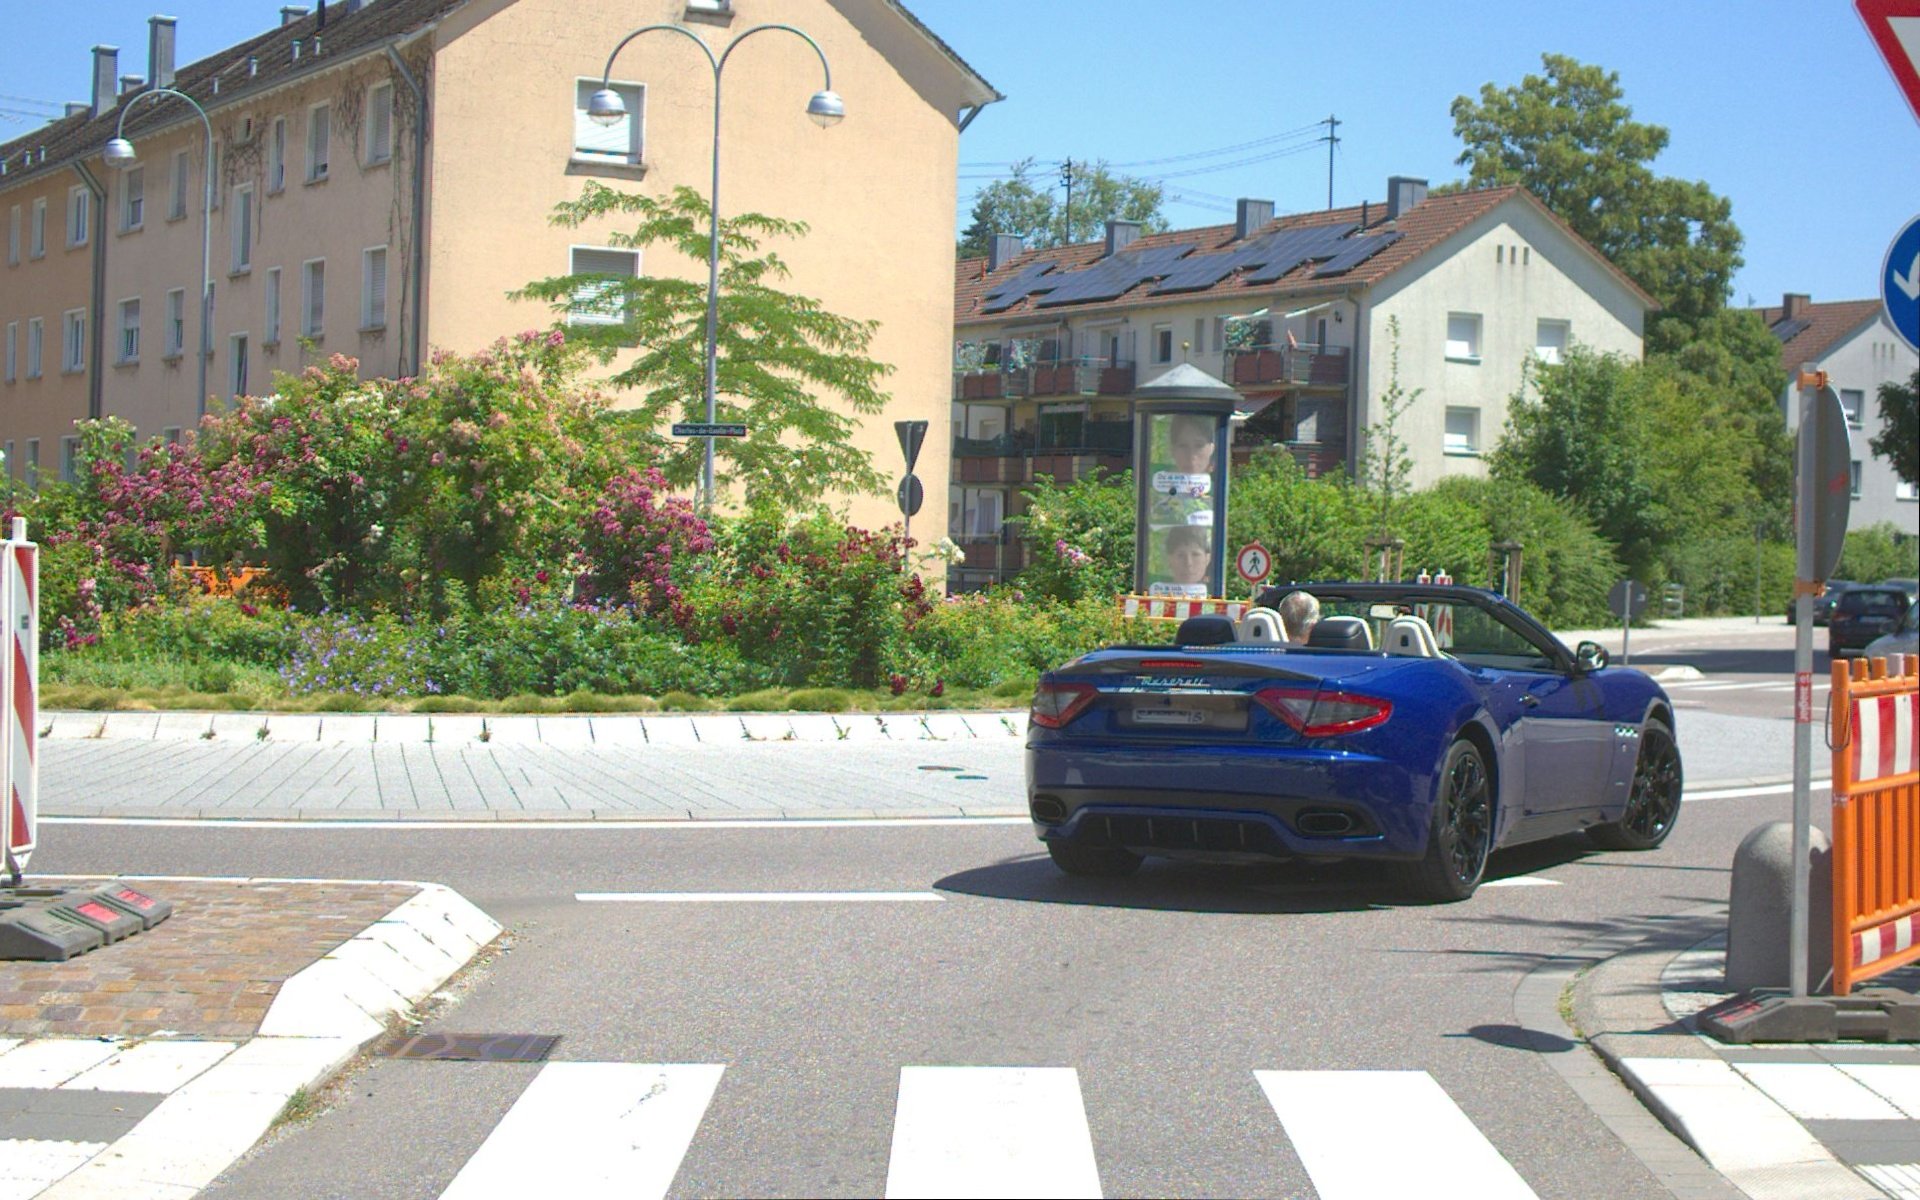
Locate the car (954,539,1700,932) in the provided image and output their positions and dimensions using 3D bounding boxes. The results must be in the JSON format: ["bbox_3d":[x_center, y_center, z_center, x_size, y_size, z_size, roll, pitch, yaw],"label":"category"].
[{"bbox_3d":[1.873,0.576,15.972,1.874,1.525,4.499,1,-1,28],"label":"car"}]

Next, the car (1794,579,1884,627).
[{"bbox_3d":[26.609,0.081,103.971,1.741,1.431,3.704,0,0,29],"label":"car"}]

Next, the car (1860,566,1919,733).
[{"bbox_3d":[9.118,0.427,29.895,1.739,1.431,3.710,0,0,2],"label":"car"}]
